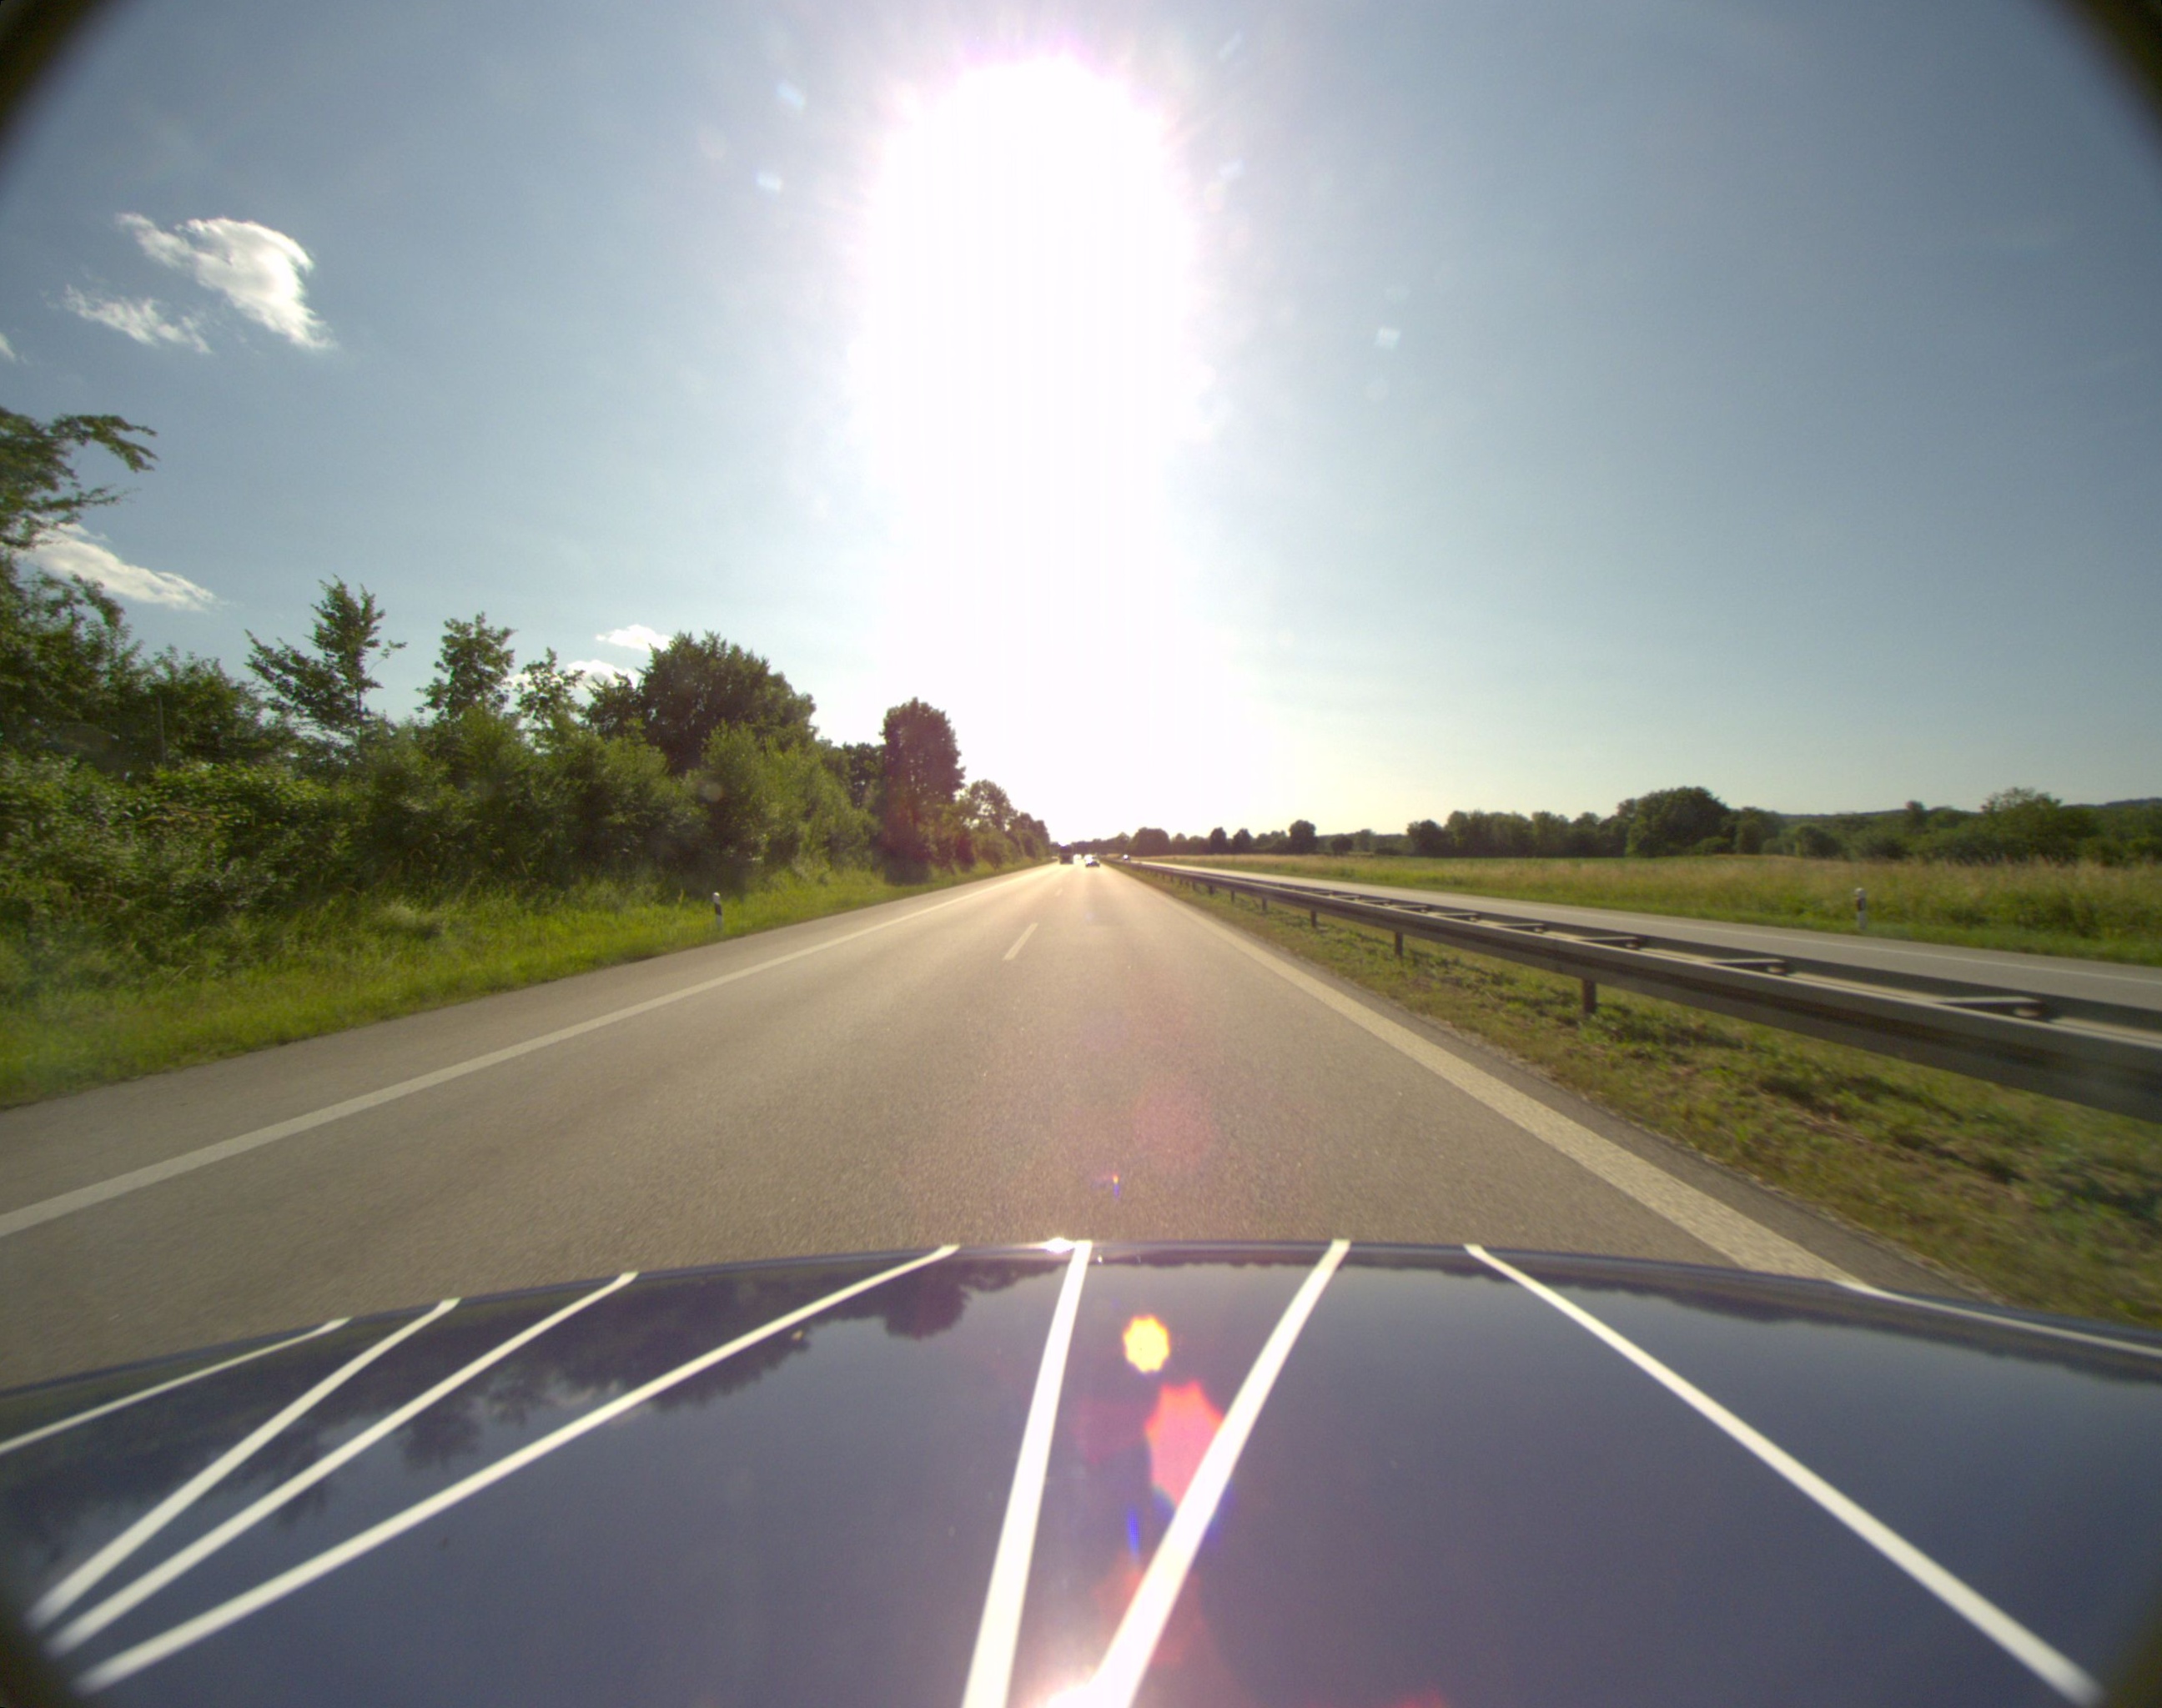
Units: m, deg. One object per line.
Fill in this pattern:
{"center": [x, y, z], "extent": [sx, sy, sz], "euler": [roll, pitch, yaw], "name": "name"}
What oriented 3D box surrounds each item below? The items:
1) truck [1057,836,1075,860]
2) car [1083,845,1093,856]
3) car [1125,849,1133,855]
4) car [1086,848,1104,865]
{"center": [-2.719, -1.137, 140.582], "extent": [2.759, 4.242, 8.492], "euler": [-2, 1, 1], "name": "truck"}
{"center": [1.542, -0.780, 177.173], "extent": [2.193, 2.502, 5.351], "euler": [-2, 1, 1], "name": "car"}
{"center": [12.288, -0.421, 196.385], "extent": [1.774, 1.476, 4.913], "euler": [0, 0, 1], "name": "car"}
{"center": [1.680, 0.276, 92.175], "extent": [1.998, 2.002, 4.358], "euler": [-2, 1, 1], "name": "car"}
